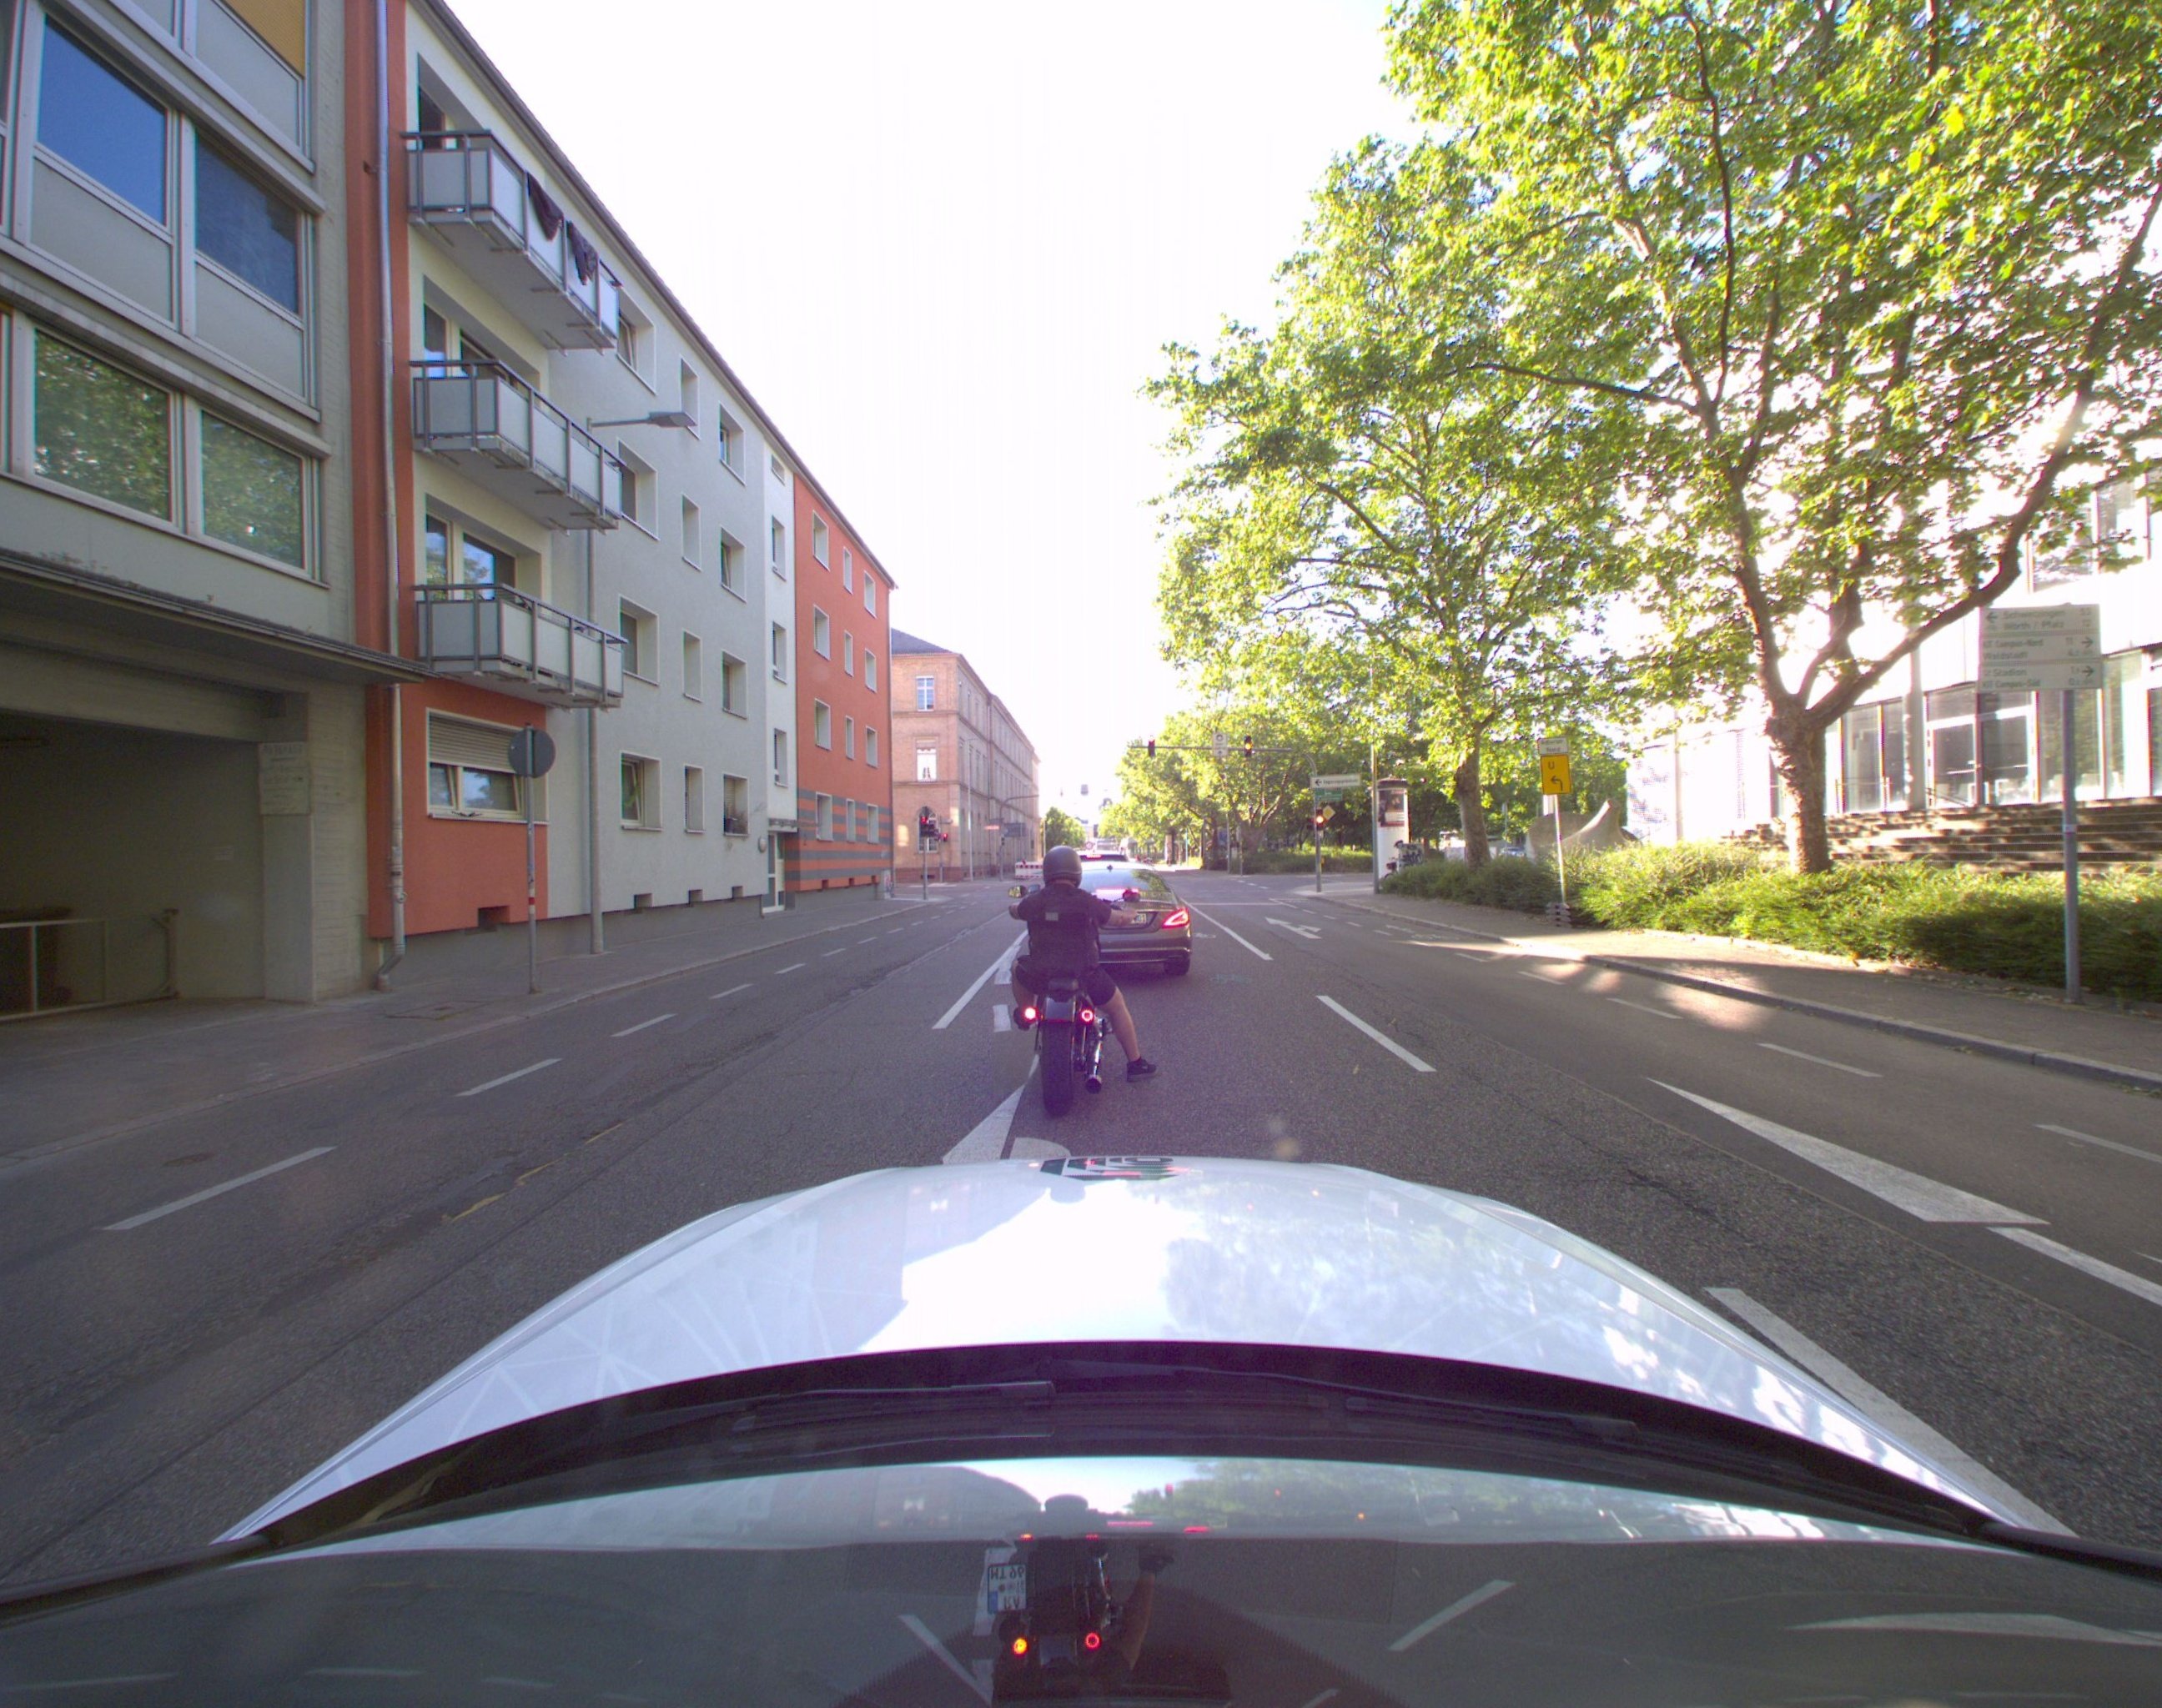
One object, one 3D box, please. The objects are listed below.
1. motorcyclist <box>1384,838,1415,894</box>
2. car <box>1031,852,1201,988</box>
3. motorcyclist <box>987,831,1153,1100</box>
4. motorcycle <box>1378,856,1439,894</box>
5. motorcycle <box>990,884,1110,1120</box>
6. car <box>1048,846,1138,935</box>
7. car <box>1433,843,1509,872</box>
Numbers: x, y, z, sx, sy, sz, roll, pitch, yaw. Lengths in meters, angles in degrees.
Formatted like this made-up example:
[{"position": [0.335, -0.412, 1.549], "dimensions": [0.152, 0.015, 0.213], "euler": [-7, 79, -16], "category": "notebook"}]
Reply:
[{"position": [10.769, 0.395, 27.575], "dimensions": [0.818, 1.863, 0.673], "euler": [0, -1, 7], "category": "motorcyclist"}, {"position": [0.263, 0.747, 11.251], "dimensions": [1.821, 1.486, 4.325], "euler": [0, -1, -5], "category": "car"}, {"position": [-0.052, 0.672, 5.456], "dimensions": [0.986, 1.611, 1.121], "euler": [0, -1, 1], "category": "motorcyclist"}, {"position": [11.073, 0.714, 27.551], "dimensions": [1.771, 1.243, 0.724], "euler": [0, -1, 7], "category": "motorcycle"}, {"position": [-0.140, 0.859, 5.548], "dimensions": [0.657, 1.240, 2.058], "euler": [0, -1, 2], "category": "motorcycle"}, {"position": [0.288, 0.691, 17.102], "dimensions": [1.645, 1.652, 4.002], "euler": [0, -1, 2], "category": "car"}, {"position": [24.631, 0.208, 51.530], "dimensions": [3.974, 1.772, 1.738], "euler": [-1, 0, -1], "category": "car"}]
